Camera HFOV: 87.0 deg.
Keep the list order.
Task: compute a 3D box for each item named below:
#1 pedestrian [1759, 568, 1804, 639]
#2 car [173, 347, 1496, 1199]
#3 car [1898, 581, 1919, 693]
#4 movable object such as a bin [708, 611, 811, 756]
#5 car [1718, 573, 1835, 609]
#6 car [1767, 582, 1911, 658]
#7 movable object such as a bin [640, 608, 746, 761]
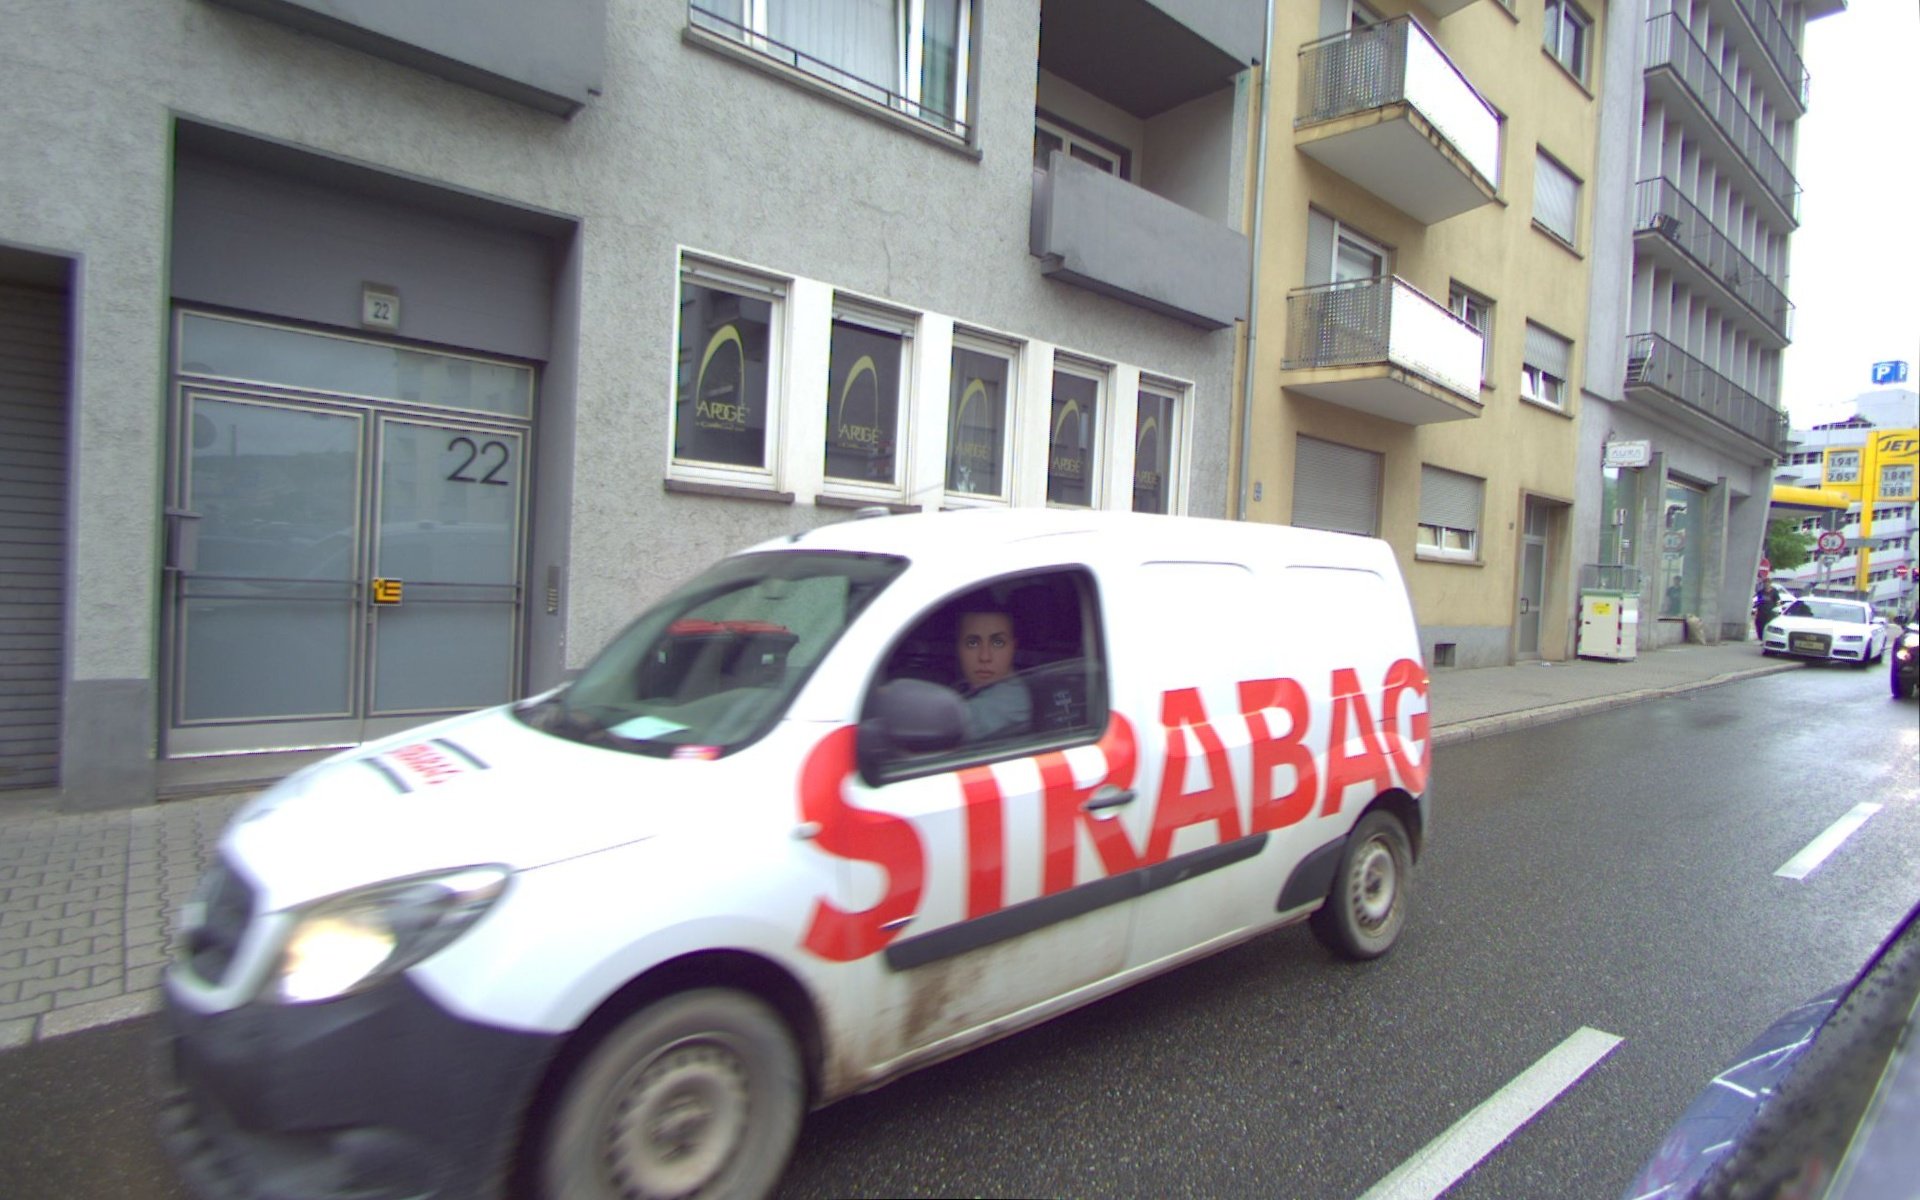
[{"bbox_3d":[21.276,0.071,26.213,0.872,1.777,0.679,0,2,-39],"label":"pedestrian"},{"bbox_3d":[-0.018,0.477,3.832,4.660,1.797,1.945,0,1,-39],"label":"car"},{"bbox_3d":[15.625,0.547,15.238,3.930,1.600,1.770,0,1,-41],"label":"car"},{"bbox_3d":[-1.477,0.591,7.441,0.506,0.961,0.541,0,5,-40],"label":"movable object such as a bin"},{"bbox_3d":[35.095,-0.365,43.632,1.738,1.492,4.000,0,0,-1],"label":"car"},{"bbox_3d":[19.721,0.392,22.654,4.093,1.453,1.803,0,4,-41],"label":"car"},{"bbox_3d":[-1.877,0.570,7.098,0.506,0.967,0.541,0,5,-40],"label":"movable object such as a bin"}]
